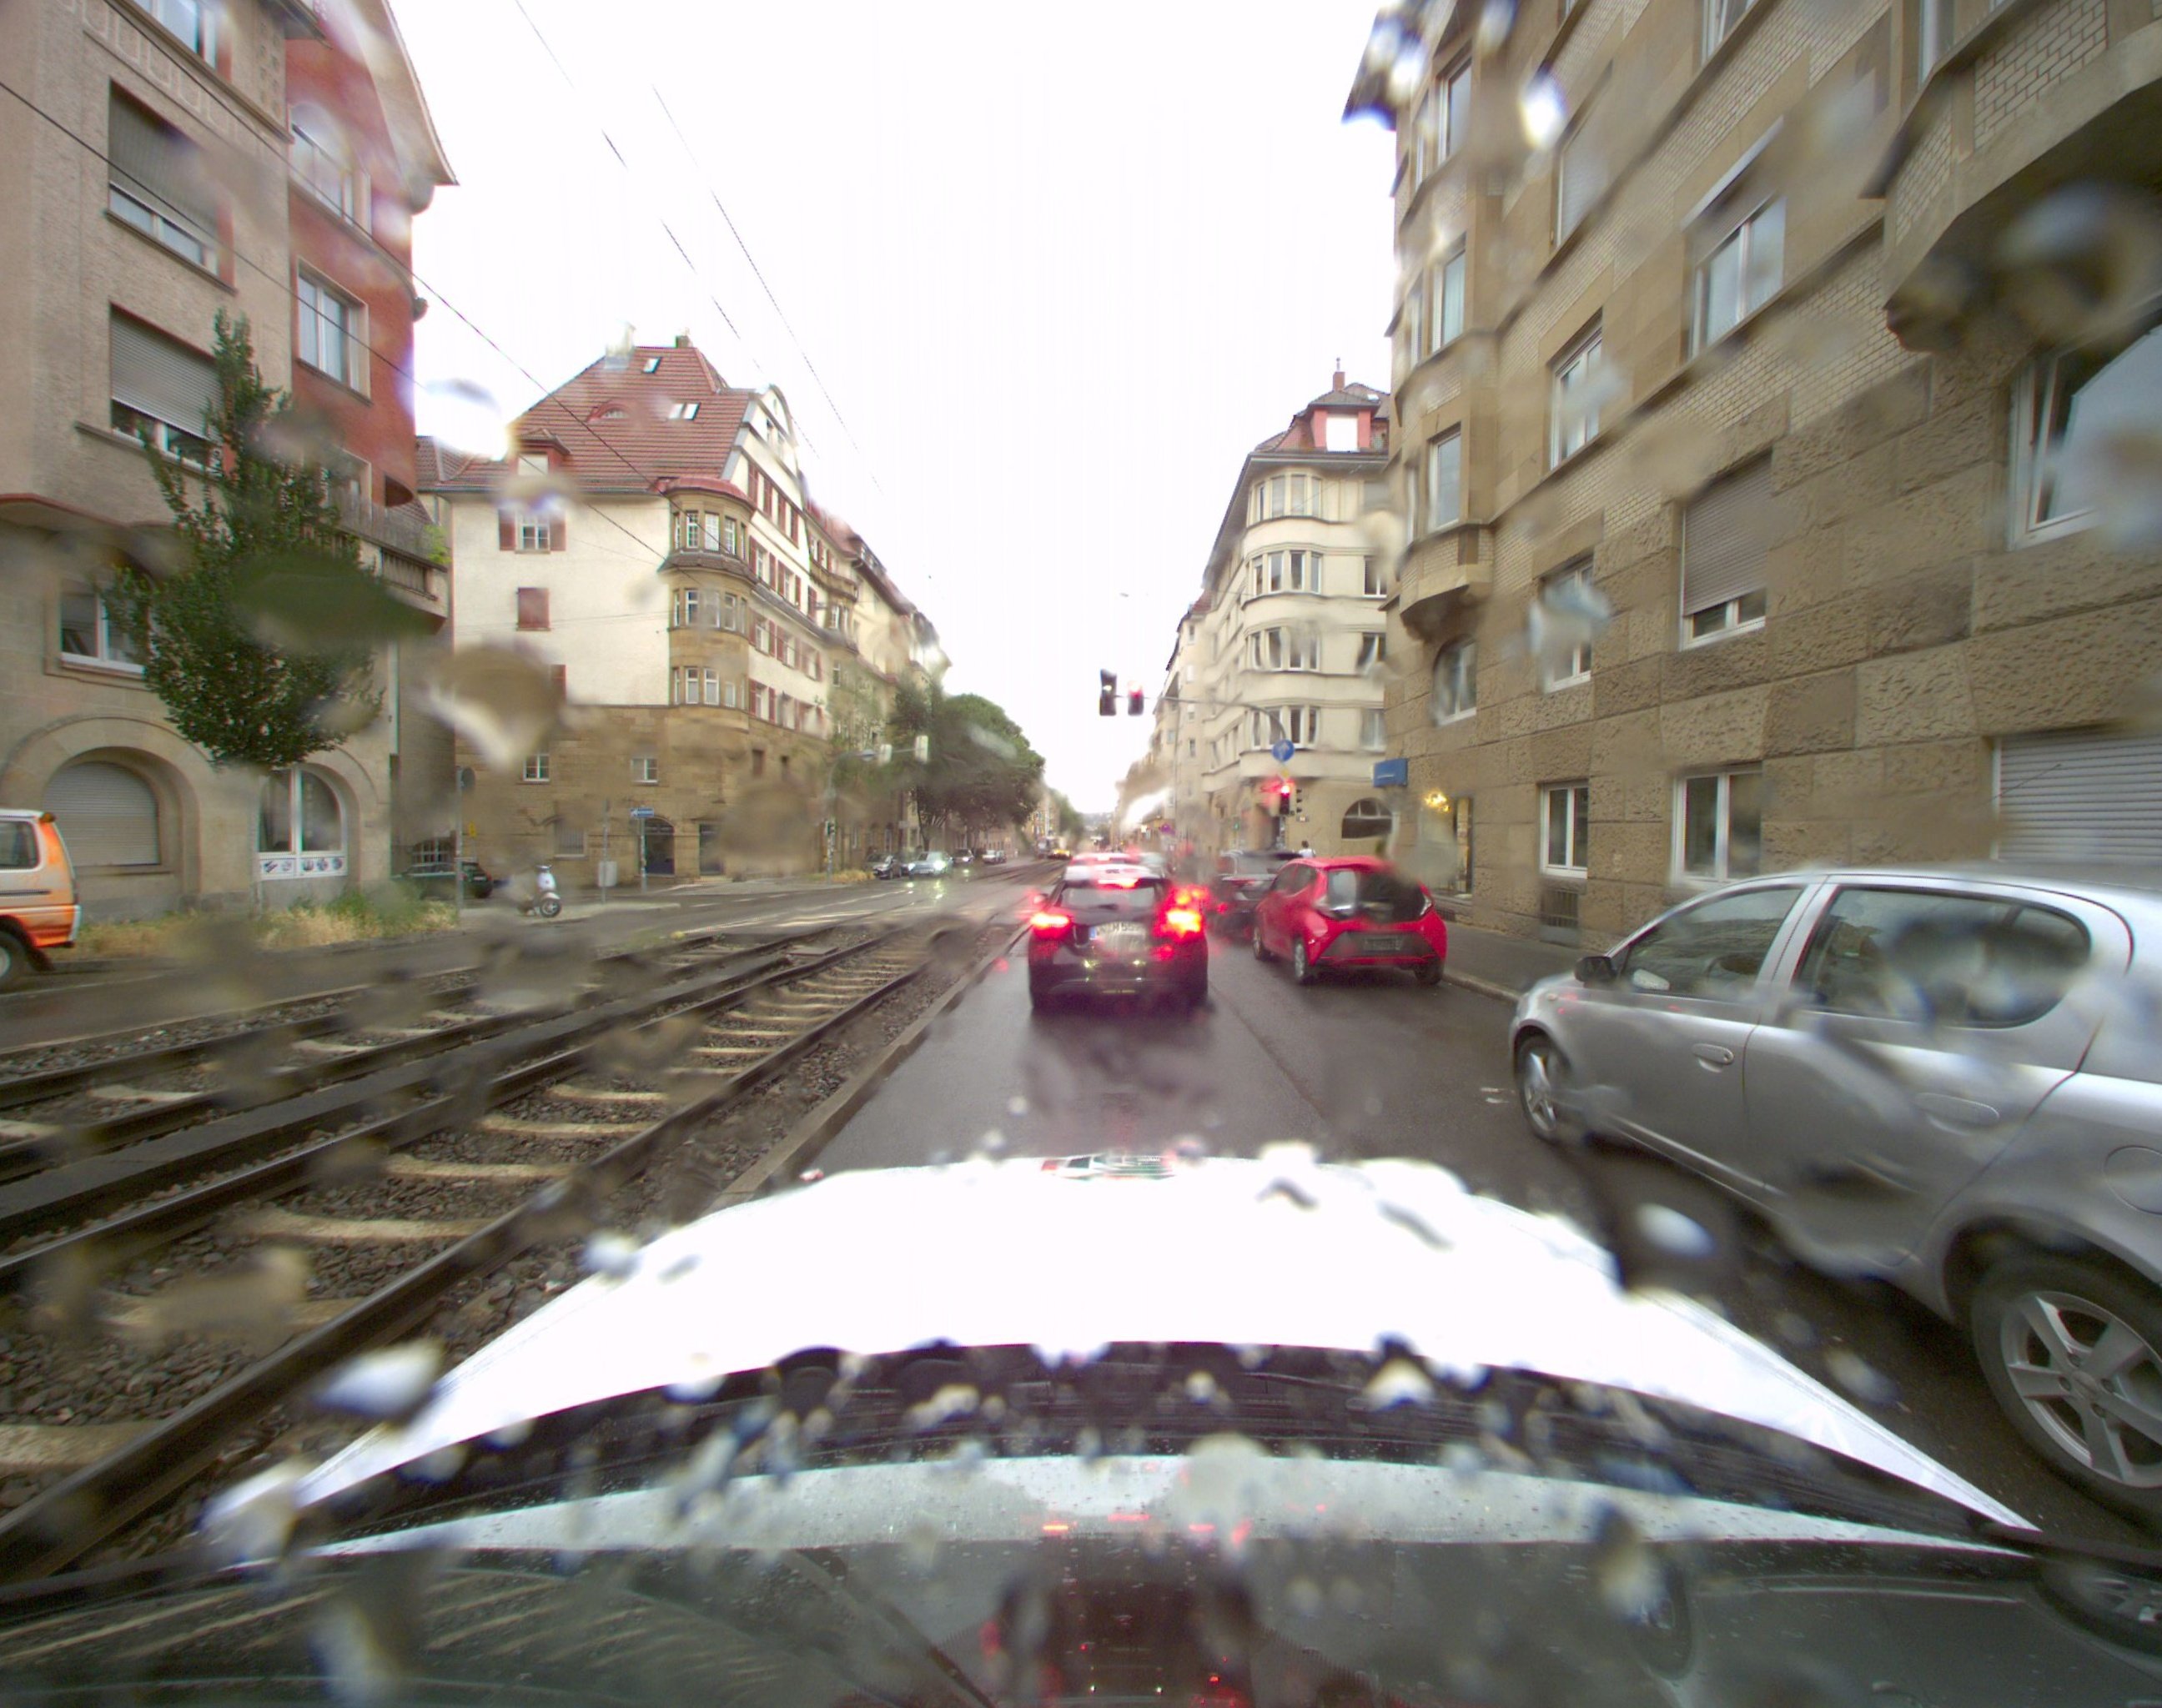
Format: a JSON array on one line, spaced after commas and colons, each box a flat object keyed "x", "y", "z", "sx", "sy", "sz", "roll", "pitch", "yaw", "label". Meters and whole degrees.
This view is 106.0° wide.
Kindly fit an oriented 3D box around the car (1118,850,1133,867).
[{"x": 4.037, "y": 0.405, "z": 73.662, "sx": 1.289, "sy": 1.442, "sz": 2.930, "roll": 0, "pitch": 0, "yaw": 2, "label": "car"}]

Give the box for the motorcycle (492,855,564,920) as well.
[{"x": -12.058, "y": 0.708, "z": 17.756, "sx": 1.577, "sy": 1.365, "sz": 0.628, "roll": -1, "pitch": -1, "yaw": 28, "label": "motorcycle"}]

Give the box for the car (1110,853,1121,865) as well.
[{"x": 5.074, "y": 0.722, "z": 119.183, "sx": 1.537, "sy": 1.636, "sz": 3.691, "roll": 0, "pitch": 0, "yaw": 5, "label": "car"}]

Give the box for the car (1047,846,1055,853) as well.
[{"x": -5.573, "y": -0.896, "z": 150.466, "sx": 1.372, "sy": 1.249, "sz": 3.297, "roll": 0, "pitch": -1, "yaw": 0, "label": "car"}]

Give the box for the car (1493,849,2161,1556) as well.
[{"x": 3.154, "y": 0.737, "z": 3.089, "sx": 1.608, "sy": 1.467, "sz": 3.314, "roll": -2, "pitch": 0, "yaw": 3, "label": "car"}]

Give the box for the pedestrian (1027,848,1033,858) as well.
[{"x": -11.129, "y": -0.216, "z": 177.804, "sx": 1.049, "sy": 1.957, "sz": 1.043, "roll": 1, "pitch": 0, "yaw": 3, "label": "pedestrian"}]

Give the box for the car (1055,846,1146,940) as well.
[{"x": 0.401, "y": 0.697, "z": 15.948, "sx": 1.559, "sy": 1.609, "sz": 3.815, "roll": 0, "pitch": -1, "yaw": 2, "label": "car"}]

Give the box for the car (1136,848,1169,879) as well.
[{"x": 3.711, "y": 0.481, "z": 42.690, "sx": 1.539, "sy": 1.590, "sz": 3.549, "roll": 0, "pitch": 0, "yaw": 2, "label": "car"}]

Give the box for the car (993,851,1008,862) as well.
[{"x": -9.785, "y": 0.297, "z": 99.002, "sx": 1.443, "sy": 1.331, "sz": 3.271, "roll": 0, "pitch": -1, "yaw": 0, "label": "car"}]

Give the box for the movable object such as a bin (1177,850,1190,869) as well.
[{"x": 7.484, "y": 0.423, "z": 59.545, "sx": 0.873, "sy": 1.389, "sz": 0.984, "roll": 0, "pitch": -1, "yaw": 5, "label": "movable object such as a bin"}]

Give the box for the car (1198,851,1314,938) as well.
[{"x": 3.251, "y": 0.686, "z": 15.798, "sx": 1.539, "sy": 1.486, "sz": 3.831, "roll": 0, "pitch": 0, "yaw": 2, "label": "car"}]

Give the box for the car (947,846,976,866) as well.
[{"x": -10.586, "y": 0.215, "z": 72.129, "sx": 1.868, "sy": 1.737, "sz": 3.920, "roll": 0, "pitch": -1, "yaw": 2, "label": "car"}]

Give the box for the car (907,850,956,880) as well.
[{"x": -8.260, "y": 0.580, "z": 45.420, "sx": 1.891, "sy": 1.588, "sz": 3.974, "roll": 0, "pitch": -1, "yaw": 2, "label": "car"}]

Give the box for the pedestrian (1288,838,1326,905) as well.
[{"x": 6.102, "y": 0.468, "z": 22.054, "sx": 0.739, "sy": 1.748, "sz": 1.111, "roll": 0, "pitch": -1, "yaw": 2, "label": "pedestrian"}]

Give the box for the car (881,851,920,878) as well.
[{"x": -11.276, "y": 0.645, "z": 51.141, "sx": 1.713, "sy": 1.611, "sz": 3.914, "roll": 0, "pitch": -1, "yaw": -3, "label": "car"}]

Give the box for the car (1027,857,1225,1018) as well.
[{"x": 0.474, "y": 0.778, "z": 9.553, "sx": 1.822, "sy": 1.458, "sz": 4.105, "roll": 0, "pitch": 0, "yaw": 2, "label": "car"}]

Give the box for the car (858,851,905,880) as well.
[{"x": -11.245, "y": 0.638, "z": 46.106, "sx": 1.747, "sy": 1.552, "sz": 4.033, "roll": 0, "pitch": -1, "yaw": -2, "label": "car"}]

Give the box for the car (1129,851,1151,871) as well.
[{"x": 4.426, "y": 0.529, "z": 61.572, "sx": 1.539, "sy": 1.486, "sz": 3.549, "roll": 0, "pitch": 0, "yaw": 2, "label": "car"}]

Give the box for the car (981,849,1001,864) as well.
[{"x": -9.855, "y": 0.309, "z": 89.587, "sx": 1.583, "sy": 1.581, "sz": 3.920, "roll": 0, "pitch": -1, "yaw": 2, "label": "car"}]

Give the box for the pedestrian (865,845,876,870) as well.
[{"x": -14.085, "y": 0.254, "z": 54.479, "sx": 0.630, "sy": 1.672, "sz": 0.701, "roll": 0, "pitch": -1, "yaw": -5, "label": "pedestrian"}]

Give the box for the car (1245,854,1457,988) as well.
[{"x": 3.285, "y": 0.731, "z": 10.554, "sx": 1.637, "sy": 1.448, "sz": 3.298, "roll": 0, "pitch": 0, "yaw": -1, "label": "car"}]

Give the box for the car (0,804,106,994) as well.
[{"x": -12.114, "y": 0.464, "z": 7.199, "sx": 1.725, "sy": 1.975, "sz": 4.341, "roll": 0, "pitch": -1, "yaw": 0, "label": "car"}]

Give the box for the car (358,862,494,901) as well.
[{"x": -24.375, "y": 1.007, "z": 30.399, "sx": 3.633, "sy": 1.404, "sz": 1.699, "roll": 0, "pitch": -1, "yaw": -3, "label": "car"}]

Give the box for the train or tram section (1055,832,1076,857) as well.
[{"x": -2.446, "y": -1.512, "z": 132.949, "sx": 2.772, "sy": 3.861, "sz": 10.433, "roll": 0, "pitch": -1, "yaw": 2, "label": "train or tram section"}]

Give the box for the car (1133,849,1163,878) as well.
[{"x": 3.852, "y": 0.525, "z": 47.165, "sx": 1.539, "sy": 1.590, "sz": 3.549, "roll": 0, "pitch": 0, "yaw": 2, "label": "car"}]
